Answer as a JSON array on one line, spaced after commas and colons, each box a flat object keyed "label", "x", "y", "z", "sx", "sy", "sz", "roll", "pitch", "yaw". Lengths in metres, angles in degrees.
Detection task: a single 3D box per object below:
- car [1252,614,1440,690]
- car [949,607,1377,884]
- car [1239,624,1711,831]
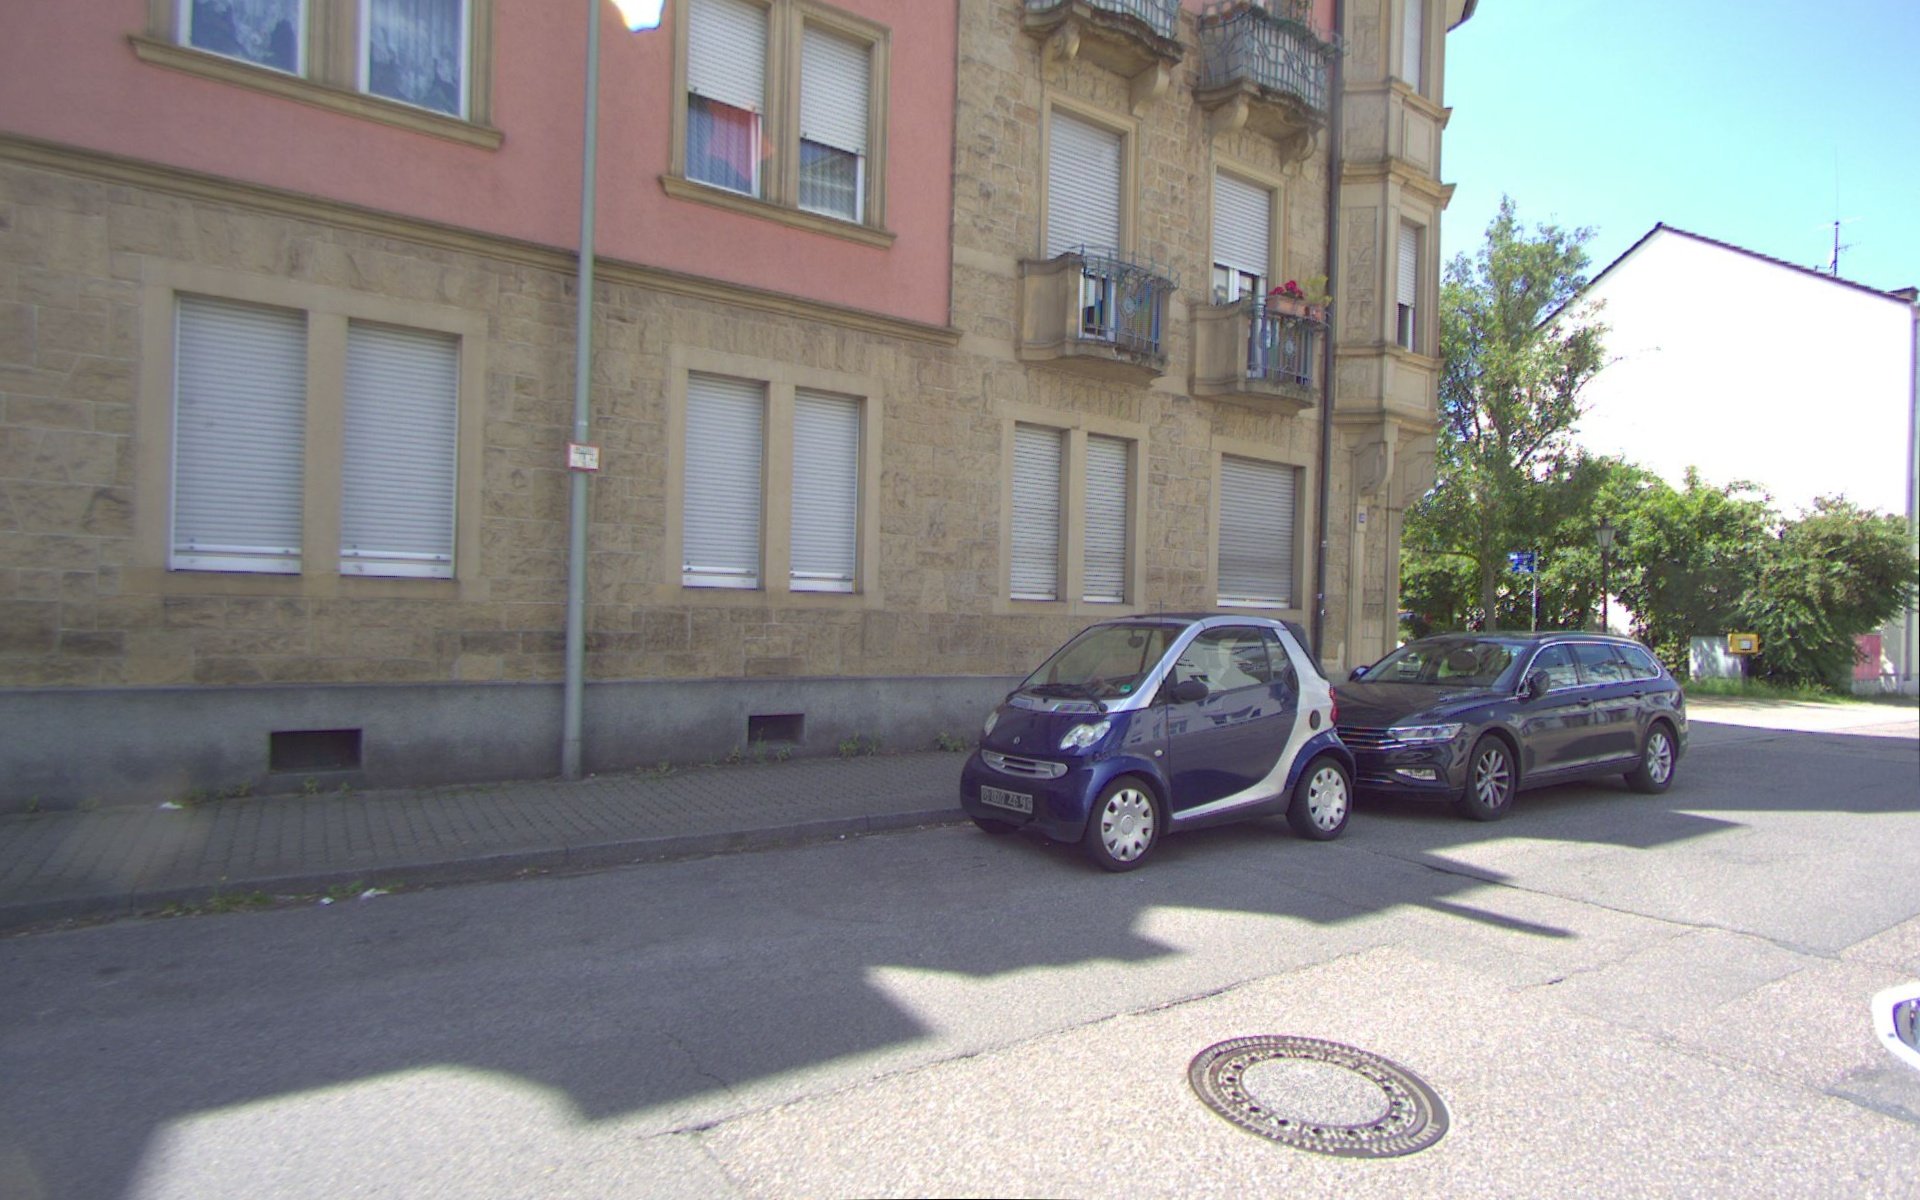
[{"label": "car", "x": 9.111, "y": 1.176, "z": 24.038, "sx": 1.846, "sy": 1.522, "sz": 3.971, "roll": 1, "pitch": 0, "yaw": -28}, {"label": "car", "x": 1.433, "y": 0.852, "z": 6.943, "sx": 2.667, "sy": 1.543, "sz": 1.428, "roll": 2, "pitch": -1, "yaw": -33}, {"label": "car", "x": 4.852, "y": 1.004, "z": 9.253, "sx": 4.583, "sy": 1.477, "sz": 1.773, "roll": 2, "pitch": -1, "yaw": -32}]
